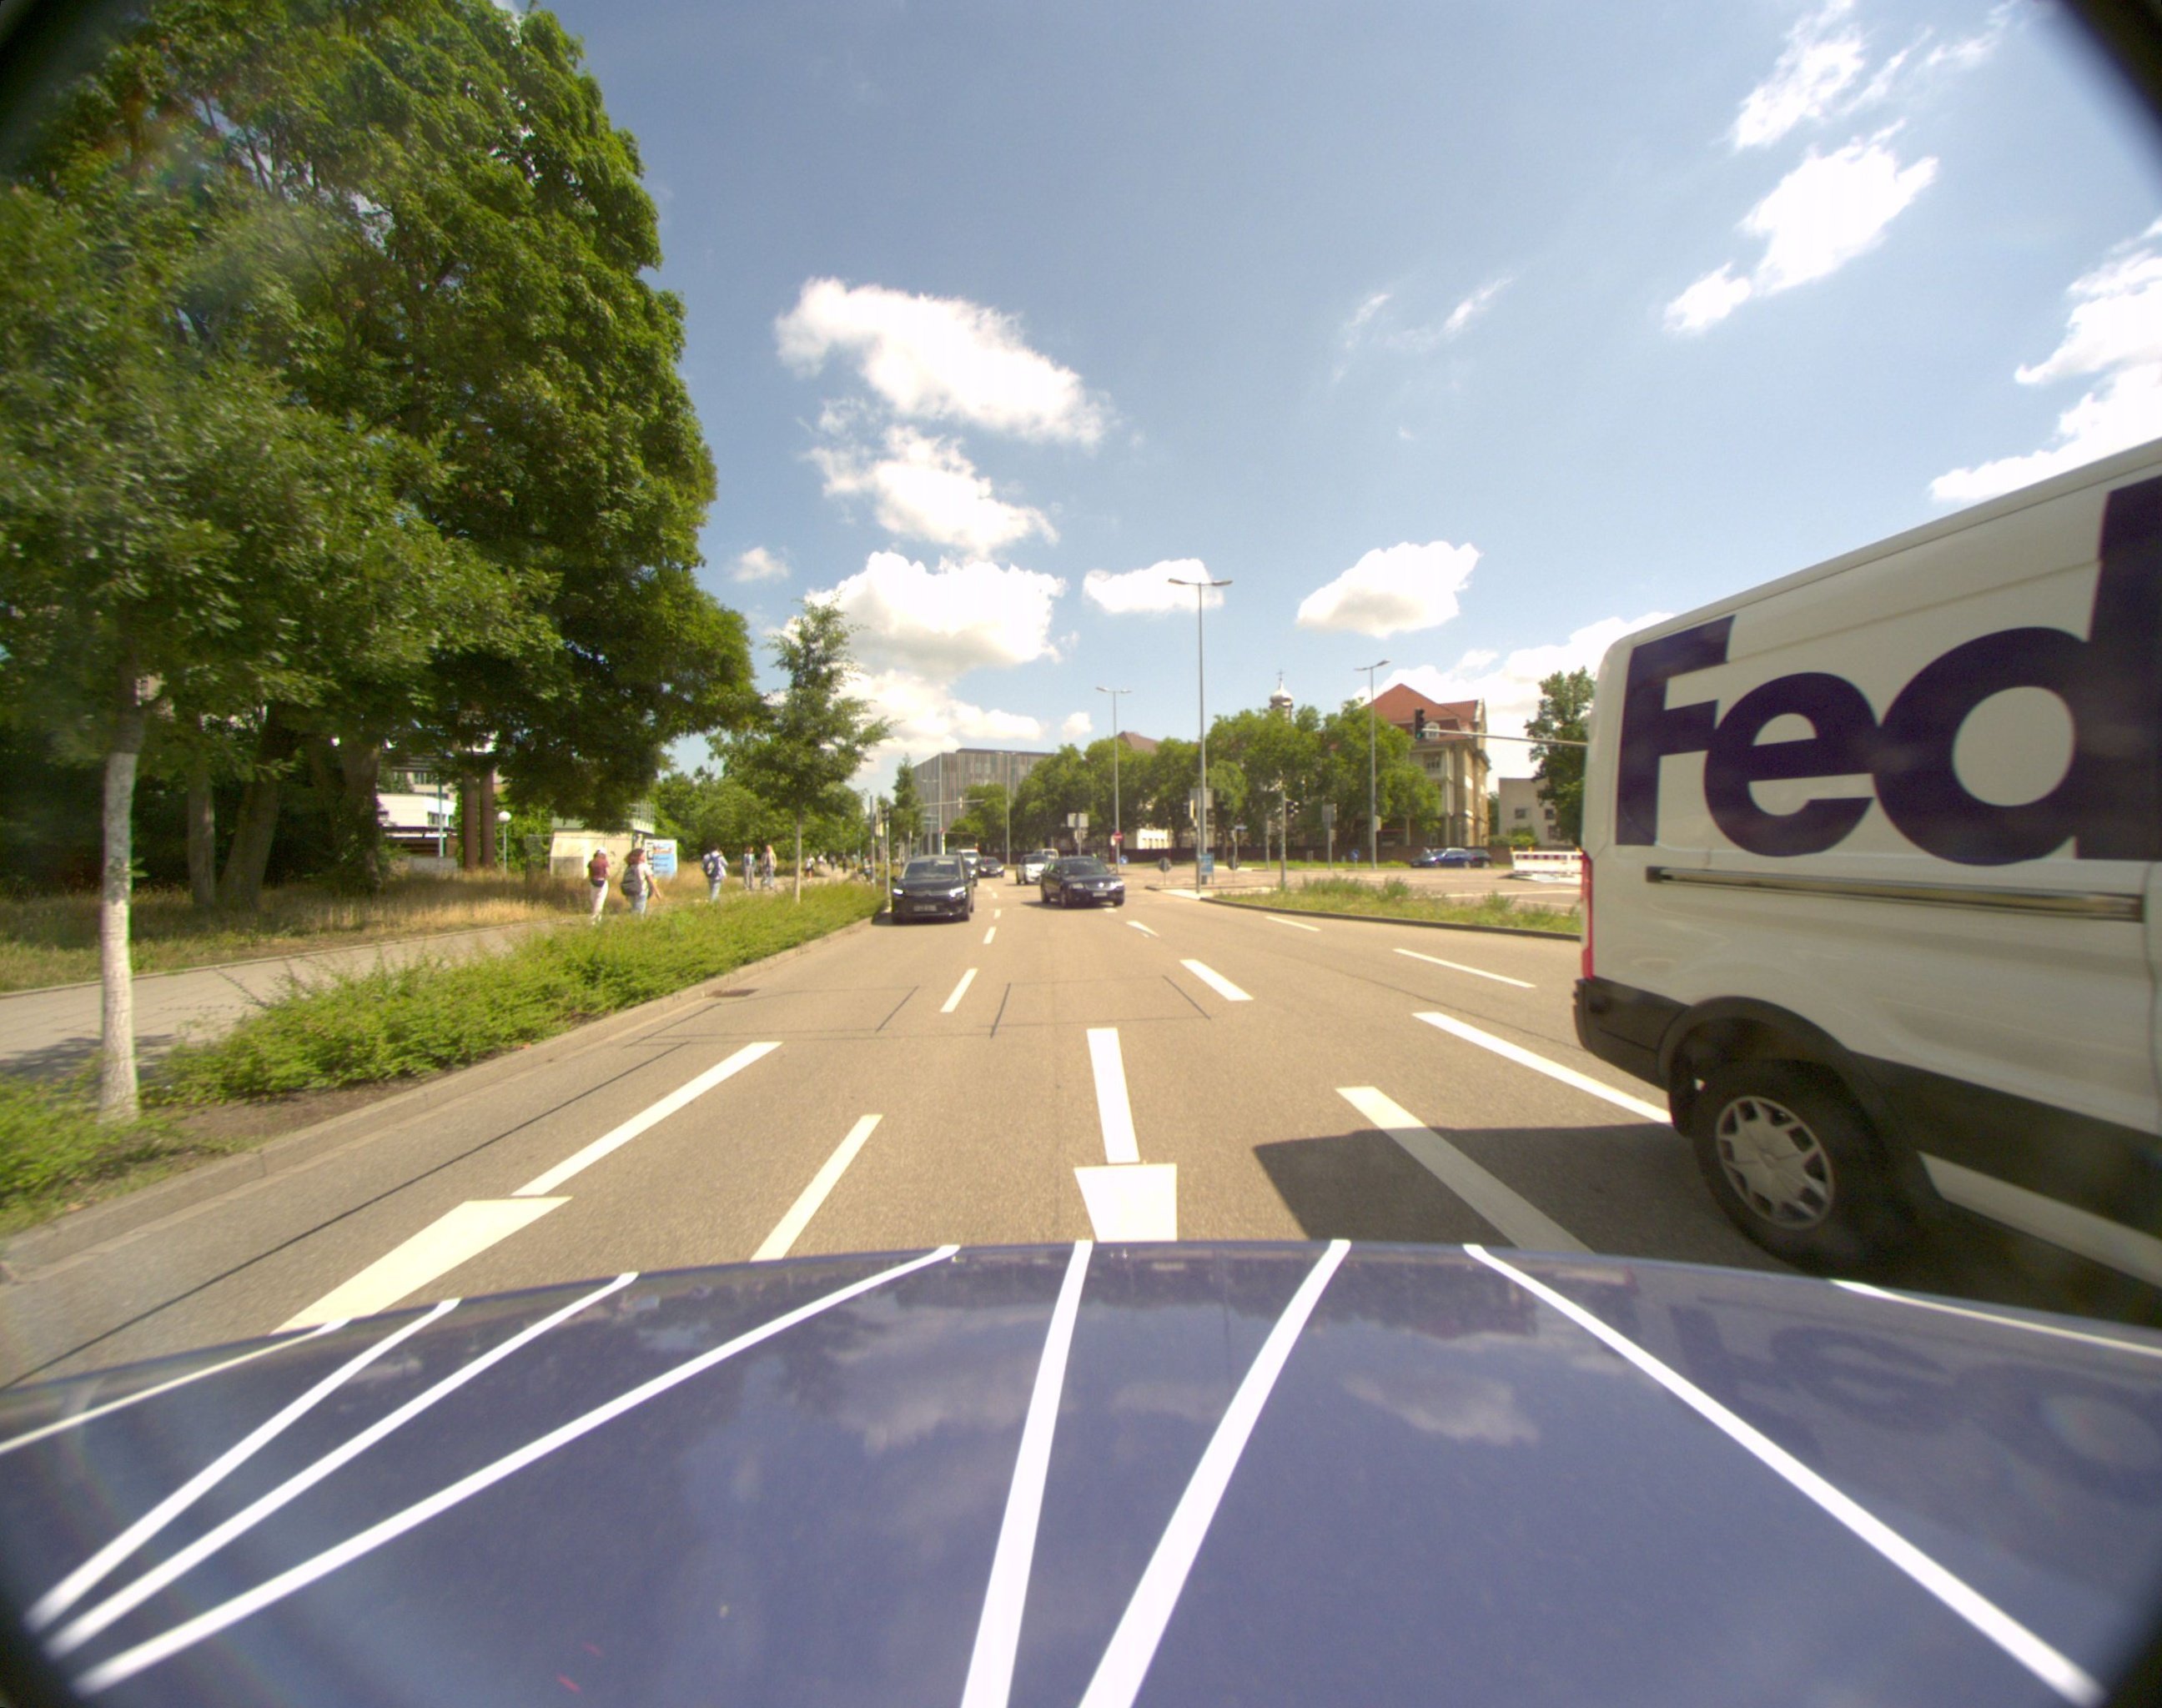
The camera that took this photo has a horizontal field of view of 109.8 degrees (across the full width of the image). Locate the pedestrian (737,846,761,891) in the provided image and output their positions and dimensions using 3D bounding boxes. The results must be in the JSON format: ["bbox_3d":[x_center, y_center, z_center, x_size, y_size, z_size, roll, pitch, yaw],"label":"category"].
[{"bbox_3d":[-13.010,0.583,29.798,0.752,1.742,0.609,1,0,-14],"label":"pedestrian"}]

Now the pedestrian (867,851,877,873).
[{"bbox_3d":[-16.266,0.628,59.156,0.669,1.739,0.846,1,0,-21],"label":"pedestrian"}]

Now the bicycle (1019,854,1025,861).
[{"bbox_3d":[-10.270,0.613,132.196,0.383,1.101,1.666,-1,1,-30],"label":"bicycle"}]

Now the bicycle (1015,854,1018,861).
[{"bbox_3d":[-11.354,0.634,133.680,0.382,1.101,1.670,-1,0,0],"label":"bicycle"}]

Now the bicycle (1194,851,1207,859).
[{"bbox_3d":[15.605,0.167,99.195,1.682,1.024,0.399,0,1,42],"label":"bicycle"}]

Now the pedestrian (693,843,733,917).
[{"bbox_3d":[-9.392,0.652,19.394,0.759,1.810,0.779,3,0,-19],"label":"pedestrian"}]

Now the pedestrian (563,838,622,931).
[{"bbox_3d":[-9.847,0.595,15.339,0.758,1.811,0.637,-2,2,-13],"label":"pedestrian"}]

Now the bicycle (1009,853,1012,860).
[{"bbox_3d":[-12.564,0.448,135.813,0.382,1.101,1.670,-1,0,0],"label":"bicycle"}]

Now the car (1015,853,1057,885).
[{"bbox_3d":[-2.425,0.751,39.886,1.752,1.496,4.516,-3,1,-8],"label":"car"}]

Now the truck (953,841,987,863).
[{"bbox_3d":[-12.244,-0.220,83.299,2.465,2.287,5.805,-3,1,-20],"label":"truck"}]

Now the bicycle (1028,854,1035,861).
[{"bbox_3d":[-8.386,0.617,128.982,0.383,1.101,1.666,-1,1,-33],"label":"bicycle"}]

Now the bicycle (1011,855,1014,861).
[{"bbox_3d":[-12.165,0.671,135.097,0.382,1.101,1.670,-1,0,0],"label":"bicycle"}]

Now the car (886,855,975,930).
[{"bbox_3d":[-3.700,0.880,19.429,1.864,1.613,4.517,-1,1,-7],"label":"car"}]

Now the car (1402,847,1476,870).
[{"bbox_3d":[24.056,0.290,51.033,4.675,1.477,1.996,0,0,-26],"label":"car"}]

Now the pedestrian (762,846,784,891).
[{"bbox_3d":[-12.309,0.587,30.377,0.752,1.792,0.609,1,0,-14],"label":"pedestrian"}]

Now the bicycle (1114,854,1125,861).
[{"bbox_3d":[5.571,0.515,109.498,0.399,1.037,1.952,-1,1,-40],"label":"bicycle"}]

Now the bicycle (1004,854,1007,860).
[{"bbox_3d":[-13.694,0.485,138.061,0.329,1.012,1.670,-1,0,0],"label":"bicycle"}]

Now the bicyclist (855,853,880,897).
[{"bbox_3d":[-8.089,0.790,28.811,0.831,1.592,0.579,2,1,-14],"label":"bicyclist"}]

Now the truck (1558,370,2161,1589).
[{"bbox_3d":[3.404,0.273,0.678,2.142,2.625,5.915,-2,1,-1],"label":"truck"}]

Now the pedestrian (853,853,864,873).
[{"bbox_3d":[-19.397,0.789,66.347,0.753,1.767,0.880,1,0,-27],"label":"pedestrian"}]

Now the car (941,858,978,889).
[{"bbox_3d":[-6.382,0.952,39.739,1.767,1.409,4.359,-3,1,-10],"label":"car"}]

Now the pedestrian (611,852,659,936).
[{"bbox_3d":[-9.040,0.792,15.429,0.589,1.617,0.727,-2,2,-13],"label":"pedestrian"}]

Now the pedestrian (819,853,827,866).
[{"bbox_3d":[-34.144,0.740,100.609,0.846,1.755,0.840,-2,2,-21],"label":"pedestrian"}]

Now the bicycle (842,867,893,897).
[{"bbox_3d":[-8.088,1.062,28.820,1.816,1.044,0.591,2,1,-14],"label":"bicycle"}]

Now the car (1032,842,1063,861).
[{"bbox_3d":[-3.573,-0.241,79.811,1.889,1.883,4.861,-1,0,-20],"label":"car"}]

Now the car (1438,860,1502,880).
[{"bbox_3d":[30.549,1.243,59.686,4.515,1.477,1.996,0,0,-22],"label":"car"}]

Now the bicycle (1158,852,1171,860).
[{"bbox_3d":[11.360,0.264,103.354,2.033,1.130,0.399,0,1,45],"label":"bicycle"}]

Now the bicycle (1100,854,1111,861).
[{"bbox_3d":[3.638,0.472,111.951,0.399,1.037,1.952,-1,1,-40],"label":"bicycle"}]

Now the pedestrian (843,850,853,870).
[{"bbox_3d":[-20.176,0.529,65.758,0.669,1.736,0.608,1,0,-27],"label":"pedestrian"}]

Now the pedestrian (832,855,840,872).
[{"bbox_3d":[-25.618,0.960,79.523,0.752,1.739,0.666,1,0,-21],"label":"pedestrian"}]

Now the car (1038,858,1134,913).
[{"bbox_3d":[0.029,0.854,22.497,1.753,1.426,4.515,-1,0,-14],"label":"car"}]

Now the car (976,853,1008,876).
[{"bbox_3d":[-6.498,0.719,54.950,1.753,1.496,4.515,-3,1,-13],"label":"car"}]

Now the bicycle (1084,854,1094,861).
[{"bbox_3d":[1.212,0.475,114.847,0.399,1.037,1.952,-1,1,-38],"label":"bicycle"}]

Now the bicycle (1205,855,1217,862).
[{"bbox_3d":[16.818,0.591,98.169,1.462,0.784,0.399,0,1,42],"label":"bicycle"}]

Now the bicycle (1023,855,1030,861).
[{"bbox_3d":[-9.351,0.656,130.382,0.383,1.101,1.666,-1,1,-32],"label":"bicycle"}]

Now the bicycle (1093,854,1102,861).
[{"bbox_3d":[2.414,0.469,113.405,0.399,1.037,1.635,-1,1,-40],"label":"bicycle"}]

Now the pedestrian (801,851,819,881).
[{"bbox_3d":[-14.646,0.651,41.063,0.753,1.587,0.879,1,0,-28],"label":"pedestrian"}]

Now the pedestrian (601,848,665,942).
[{"bbox_3d":[-8.064,0.716,13.700,0.652,1.617,0.774,2,2,3],"label":"pedestrian"}]

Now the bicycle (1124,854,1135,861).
[{"bbox_3d":[6.868,0.507,107.936,0.399,1.037,1.952,-1,1,-40],"label":"bicycle"}]

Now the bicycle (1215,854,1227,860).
[{"bbox_3d":[17.946,0.421,97.134,1.540,0.784,0.399,0,1,42],"label":"bicycle"}]

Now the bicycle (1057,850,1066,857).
[{"bbox_3d":[-3.100,-0.044,120.780,0.399,1.037,1.757,-1,1,-35],"label":"bicycle"}]
